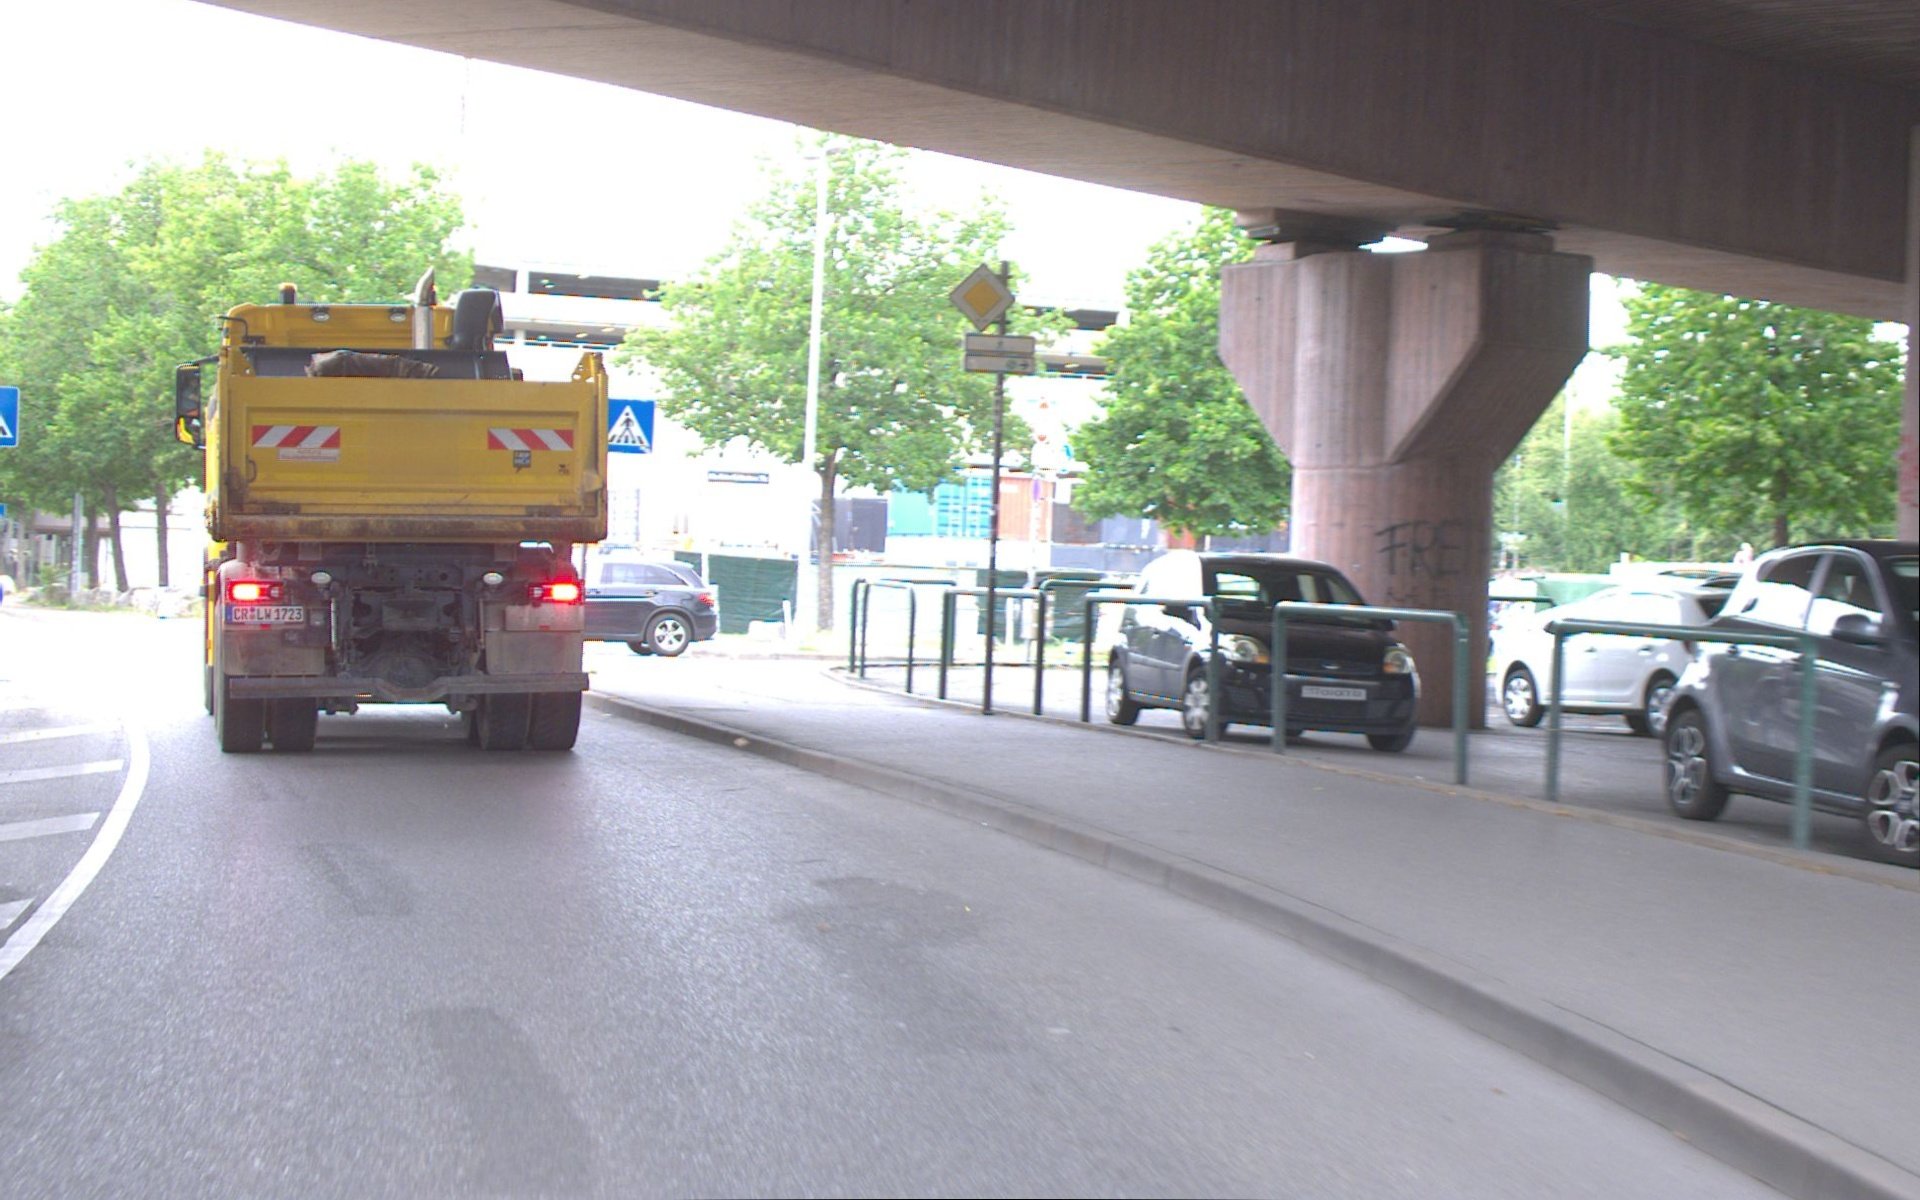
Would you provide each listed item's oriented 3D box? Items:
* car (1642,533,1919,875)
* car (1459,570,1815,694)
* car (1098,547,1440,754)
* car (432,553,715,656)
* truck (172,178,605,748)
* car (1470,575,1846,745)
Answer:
[{"bbox_3d":[4.841,0.486,16.966,1.605,1.528,3.411,3,1,-12],"label":"car"},{"bbox_3d":[8.525,0.408,43.272,4.233,1.415,1.511,1,2,-24],"label":"car"},{"bbox_3d":[2.326,0.345,26.742,1.605,1.392,3.581,3,1,-12],"label":"car"},{"bbox_3d":[-6.455,0.065,57.271,4.533,1.569,1.846,2,1,-10],"label":"car"},{"bbox_3d":[-4.432,-0.916,26.356,2.757,3.686,7.882,-1,0,-10],"label":"truck"},{"bbox_3d":[7.018,0.578,34.984,1.633,1.546,4.012,2,1,-25],"label":"car"}]
